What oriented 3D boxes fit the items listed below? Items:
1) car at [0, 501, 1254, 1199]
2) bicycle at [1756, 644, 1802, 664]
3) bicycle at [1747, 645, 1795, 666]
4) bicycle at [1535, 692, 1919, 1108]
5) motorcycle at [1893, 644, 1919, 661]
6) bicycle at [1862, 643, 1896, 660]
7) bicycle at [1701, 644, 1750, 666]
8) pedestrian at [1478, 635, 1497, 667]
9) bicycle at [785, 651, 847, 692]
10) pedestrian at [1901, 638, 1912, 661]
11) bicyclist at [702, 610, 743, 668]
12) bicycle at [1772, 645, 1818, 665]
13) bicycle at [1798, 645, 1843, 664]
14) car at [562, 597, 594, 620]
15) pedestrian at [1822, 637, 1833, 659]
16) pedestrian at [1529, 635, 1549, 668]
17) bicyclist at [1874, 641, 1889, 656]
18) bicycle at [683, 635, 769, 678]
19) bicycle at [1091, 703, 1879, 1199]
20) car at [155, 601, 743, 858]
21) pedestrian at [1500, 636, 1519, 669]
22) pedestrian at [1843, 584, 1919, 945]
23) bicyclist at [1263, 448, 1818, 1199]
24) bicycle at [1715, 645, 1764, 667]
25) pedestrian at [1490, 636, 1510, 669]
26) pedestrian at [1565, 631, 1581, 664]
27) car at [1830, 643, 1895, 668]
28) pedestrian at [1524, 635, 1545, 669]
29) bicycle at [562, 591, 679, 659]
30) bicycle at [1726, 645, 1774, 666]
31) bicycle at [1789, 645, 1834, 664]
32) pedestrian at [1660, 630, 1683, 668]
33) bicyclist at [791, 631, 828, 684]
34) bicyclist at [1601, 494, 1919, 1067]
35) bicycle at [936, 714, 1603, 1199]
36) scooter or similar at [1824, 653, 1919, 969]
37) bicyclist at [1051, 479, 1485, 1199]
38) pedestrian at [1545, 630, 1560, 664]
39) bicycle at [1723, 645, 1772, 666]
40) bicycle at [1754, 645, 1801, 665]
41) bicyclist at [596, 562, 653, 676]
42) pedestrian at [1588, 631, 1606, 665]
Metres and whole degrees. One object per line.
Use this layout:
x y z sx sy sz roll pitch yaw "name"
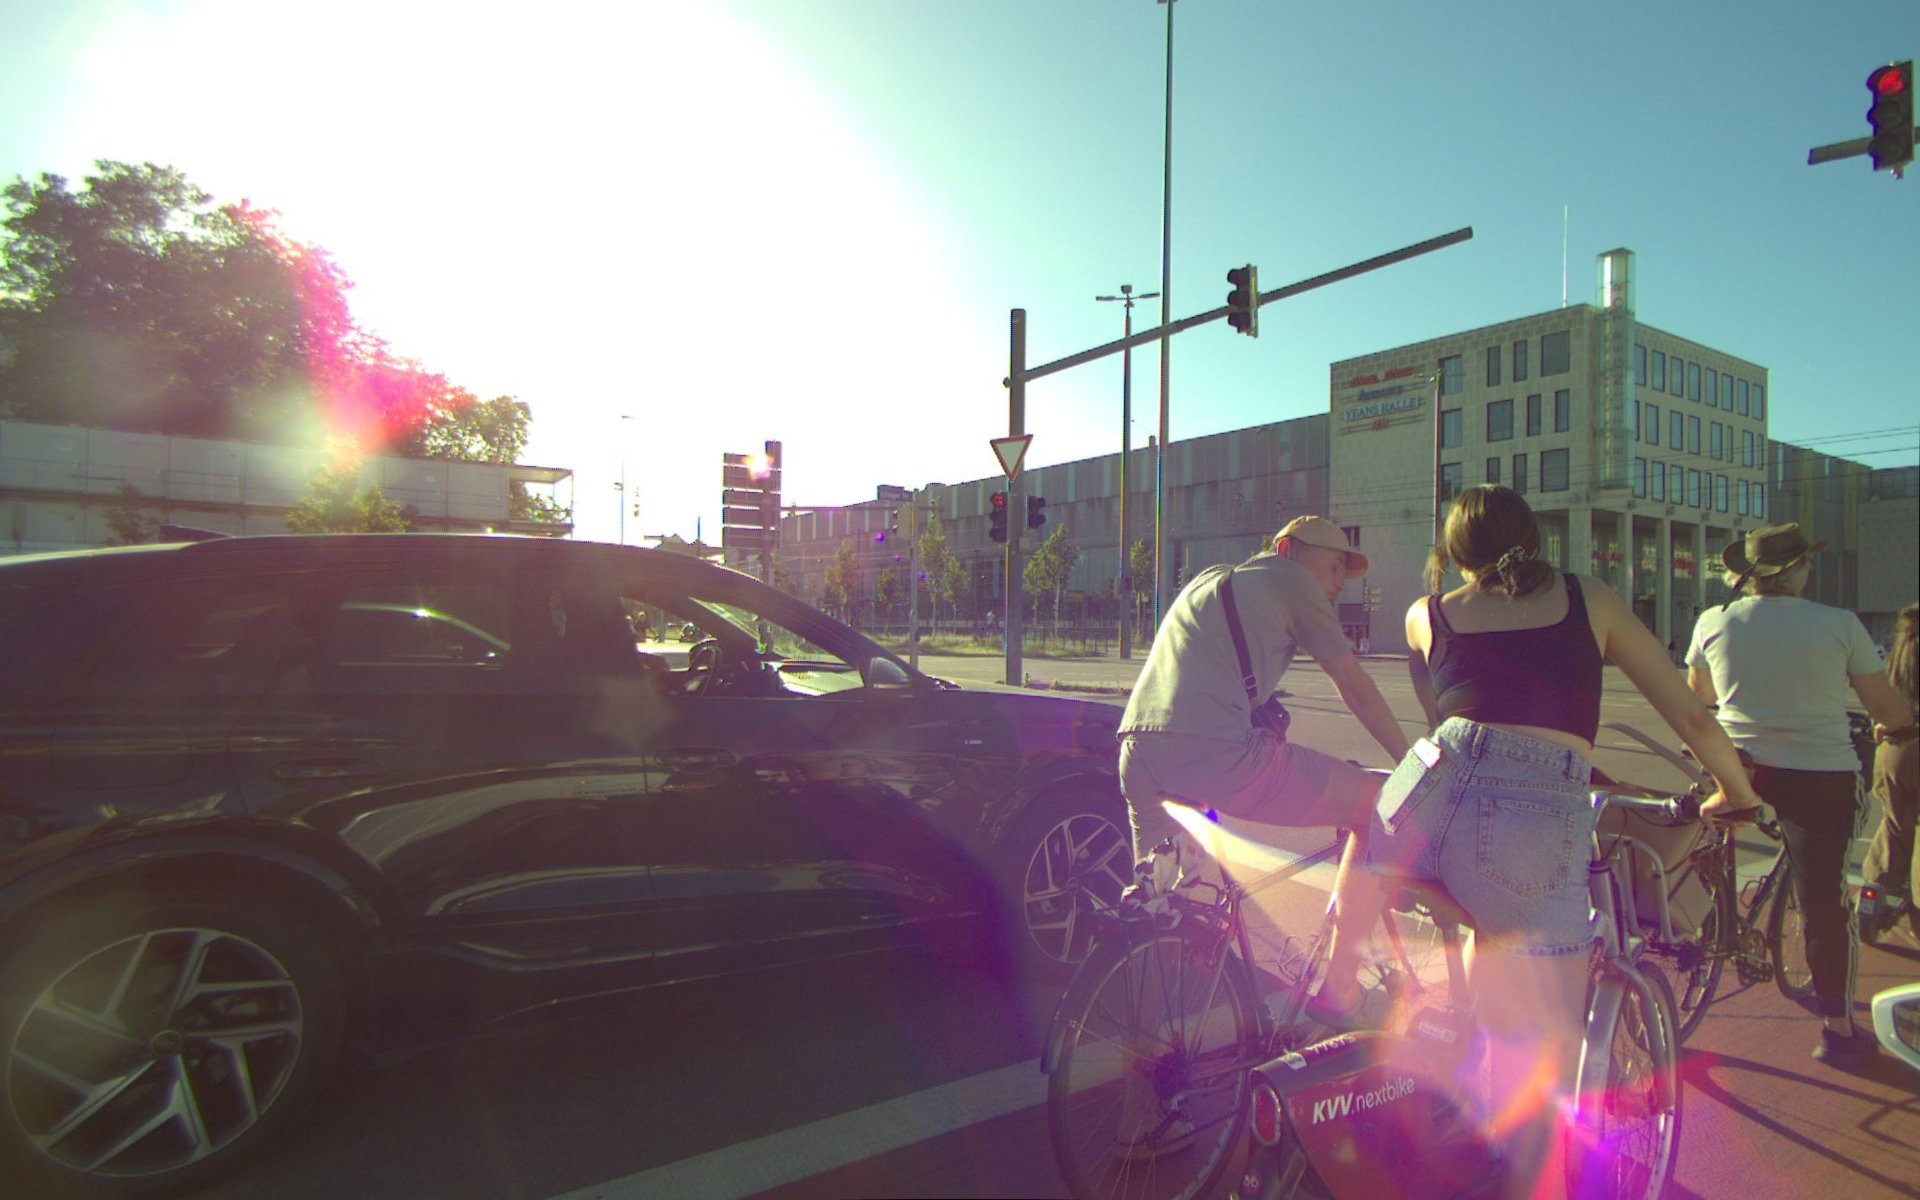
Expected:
-1.155 0.632 3.871 4.630 1.656 1.760 1 0 -32 "car"
54.282 3.593 66.565 0.605 1.238 2.295 1 -1 -31 "bicycle"
51.278 3.486 63.549 0.605 1.238 2.295 1 -1 -31 "bicycle"
2.878 0.962 3.680 1.810 1.171 0.482 2 0 -31 "bicycle"
70.740 3.922 74.853 0.508 1.223 1.786 1 0 -44 "motorcycle"
67.211 3.763 73.449 1.774 1.223 0.512 1 0 12 "bicycle"
45.763 3.300 60.082 0.605 1.238 2.295 1 -1 -31 "bicycle"
32.322 3.119 61.518 0.710 1.910 0.779 2 0 -36 "pedestrian"
-5.692 2.792 39.461 0.962 1.388 2.930 2 0 -40 "bicycle"
71.099 3.686 75.453 0.579 1.702 0.516 1 1 -43 "pedestrian"
-8.595 1.391 36.370 1.078 2.040 0.961 2 0 16 "bicyclist"
55.520 3.632 66.828 0.605 1.238 2.295 1 -1 -31 "bicycle"
59.825 3.779 69.850 0.605 1.238 2.295 1 -1 -31 "bicycle"
-32.934 0.729 86.515 1.785 1.908 3.964 2 0 -33 "car"
69.590 3.826 80.597 0.610 1.702 0.565 1 0 -39 "pedestrian"
34.408 3.054 59.688 0.710 1.910 0.779 2 0 -36 "pedestrian"
67.381 3.544 73.429 0.612 1.099 0.512 1 0 11 "bicyclist"
-8.446 2.031 36.313 2.905 1.388 0.970 2 0 16 "bicycle"
1.163 0.892 2.065 1.811 1.234 0.612 1 0 -33 "bicycle"
-3.587 0.790 7.497 3.562 1.505 1.485 1 0 -30 "car"
33.225 3.175 60.689 0.780 1.910 0.709 2 0 -37 "pedestrian"
4.632 0.763 4.807 0.568 1.654 0.543 2 0 -45 "pedestrian"
1.178 0.569 2.061 0.866 1.600 0.638 1 0 -33 "bicyclist"
46.965 3.339 60.526 0.605 1.238 2.295 1 -1 -31 "bicycle"
32.163 3.139 59.867 0.710 1.910 0.779 2 0 -36 "pedestrian"
35.631 2.740 58.423 0.784 1.868 0.862 0 -1 32 "pedestrian"
49.784 3.074 55.408 3.956 1.359 1.621 2 -4 -32 "car"
33.398 3.016 58.376 0.710 1.910 0.779 2 0 -36 "pedestrian"
-9.547 0.685 28.327 3.047 1.835 0.835 0 1 -32 "bicycle"
48.698 3.399 61.958 0.605 1.238 2.295 1 -1 -31 "bicycle"
58.853 3.747 69.426 0.605 1.238 2.295 1 -1 -31 "bicycle"
39.322 2.696 55.508 0.767 2.040 0.876 2 0 -41 "pedestrian"
-5.943 2.258 39.771 0.985 2.040 1.088 2 0 -40 "bicyclist"
2.868 0.557 3.554 0.856 1.743 0.657 2 0 -30 "bicyclist"
0.939 0.953 2.771 1.949 1.124 0.643 1 0 -33 "bicycle"
4.491 0.926 4.715 1.186 1.311 0.541 2 0 -45 "scooter or similar"
0.802 0.559 2.675 0.833 1.627 0.712 1 0 -32 "bicyclist"
34.251 2.694 58.074 0.705 1.910 0.785 2 0 33 "pedestrian"
48.048 3.376 61.337 0.605 1.238 2.295 1 -1 -31 "bicycle"
52.903 3.543 65.017 0.605 1.238 2.295 1 -1 -31 "bicycle"
-9.490 0.536 28.399 1.292 3.144 0.835 2 0 -32 "bicyclist"
35.873 2.704 56.582 0.784 1.868 0.863 0 -1 28 "pedestrian"
